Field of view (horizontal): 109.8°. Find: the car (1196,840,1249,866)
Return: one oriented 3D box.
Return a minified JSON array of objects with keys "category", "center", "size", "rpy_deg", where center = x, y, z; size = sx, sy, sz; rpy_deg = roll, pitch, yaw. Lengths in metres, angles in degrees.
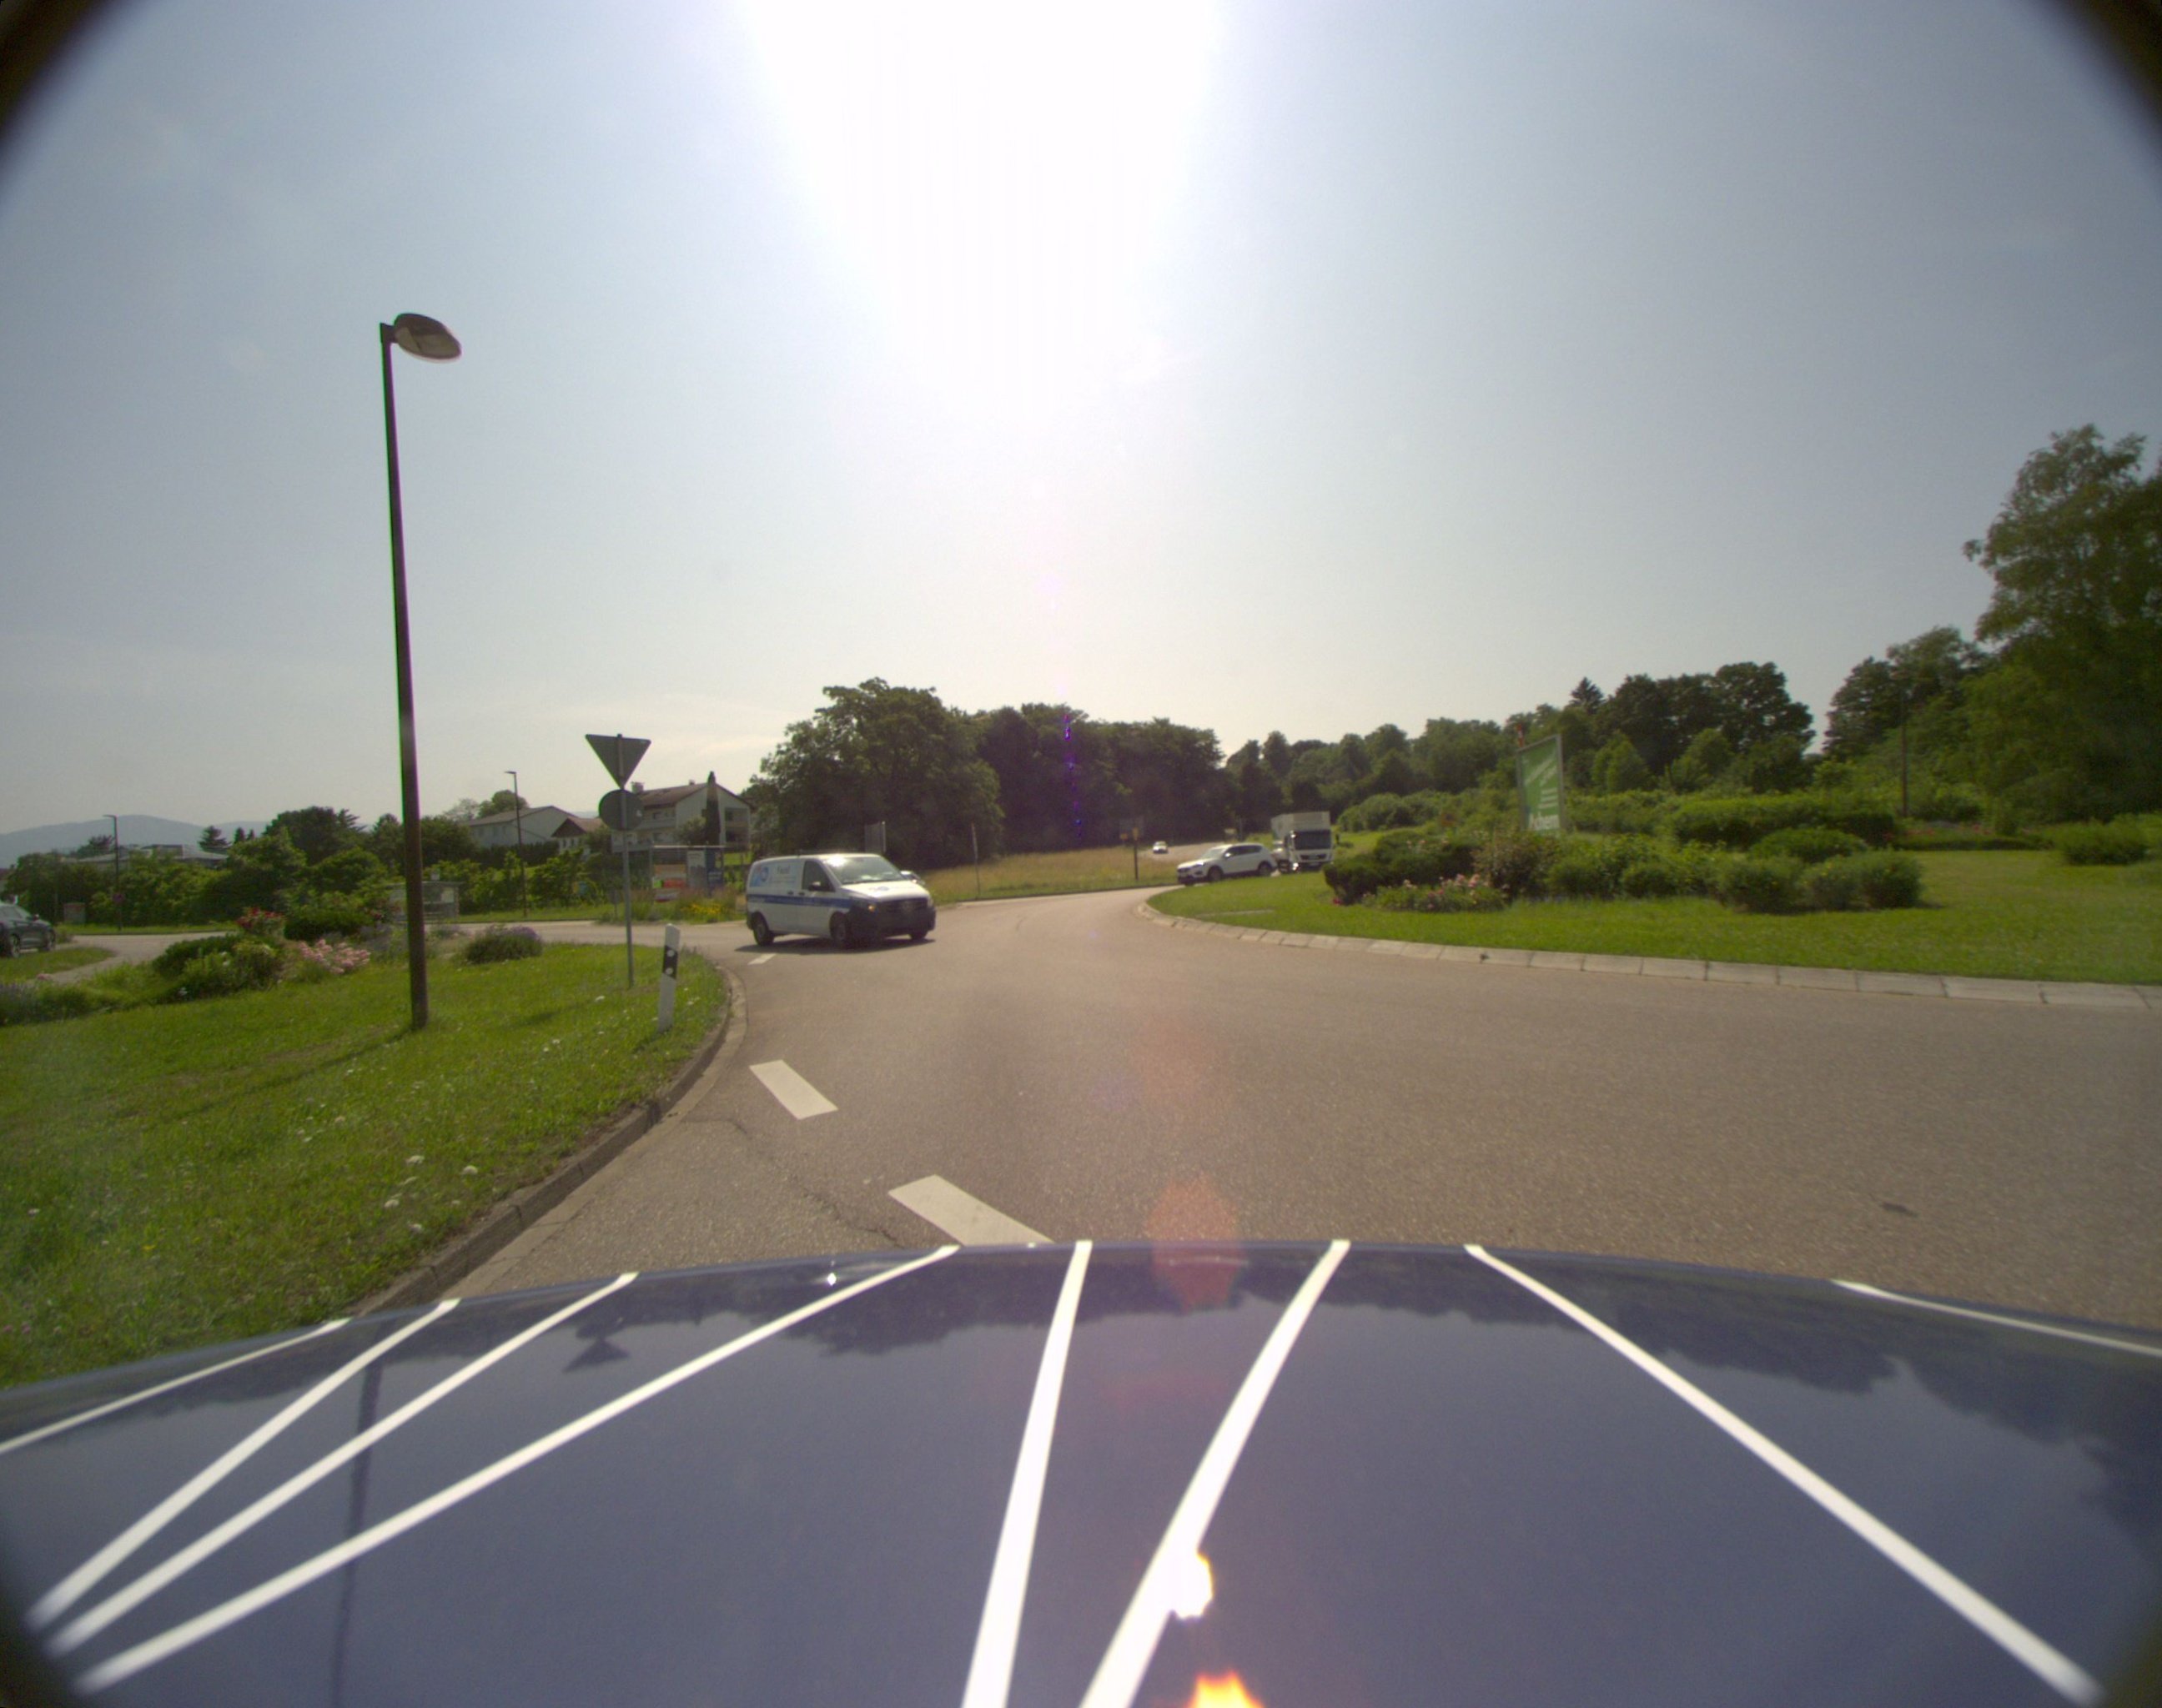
[{"category":"car","center":[12.364,-0.030,66.796],"size":[2.001,2.002,5.595],"rpy_deg":[-5,0,-18]}]

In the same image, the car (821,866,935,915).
[{"category":"car","center":[-8.365,1.512,31.718],"size":[4.198,1.605,2.129],"rpy_deg":[-5,-2,-6]}]

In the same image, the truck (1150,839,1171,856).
[{"category":"truck","center":[10.681,-0.844,101.588],"size":[2.359,2.002,5.443],"rpy_deg":[-4,0,9]}]

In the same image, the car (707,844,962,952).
[{"category":"car","center":[-5.238,0.955,15.929],"size":[5.218,1.926,1.864],"rpy_deg":[-4,1,29]}]

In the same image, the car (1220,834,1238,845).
[{"category":"car","center":[23.139,-2.220,118.456],"size":[1.753,1.521,4.221],"rpy_deg":[-1,-1,26]}]

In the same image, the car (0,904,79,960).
[{"category":"car","center":[-32.787,2.359,22.828],"size":[1.913,1.503,4.365],"rpy_deg":[-2,0,-34]}]

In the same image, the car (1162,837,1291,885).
[{"category":"car","center":[6.272,0.275,32.673],"size":[5.128,1.642,2.193],"rpy_deg":[-4,0,-29]}]

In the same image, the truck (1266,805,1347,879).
[{"category":"truck","center":[13.223,-0.686,45.378],"size":[2.897,3.806,9.027],"rpy_deg":[-4,0,7]}]
